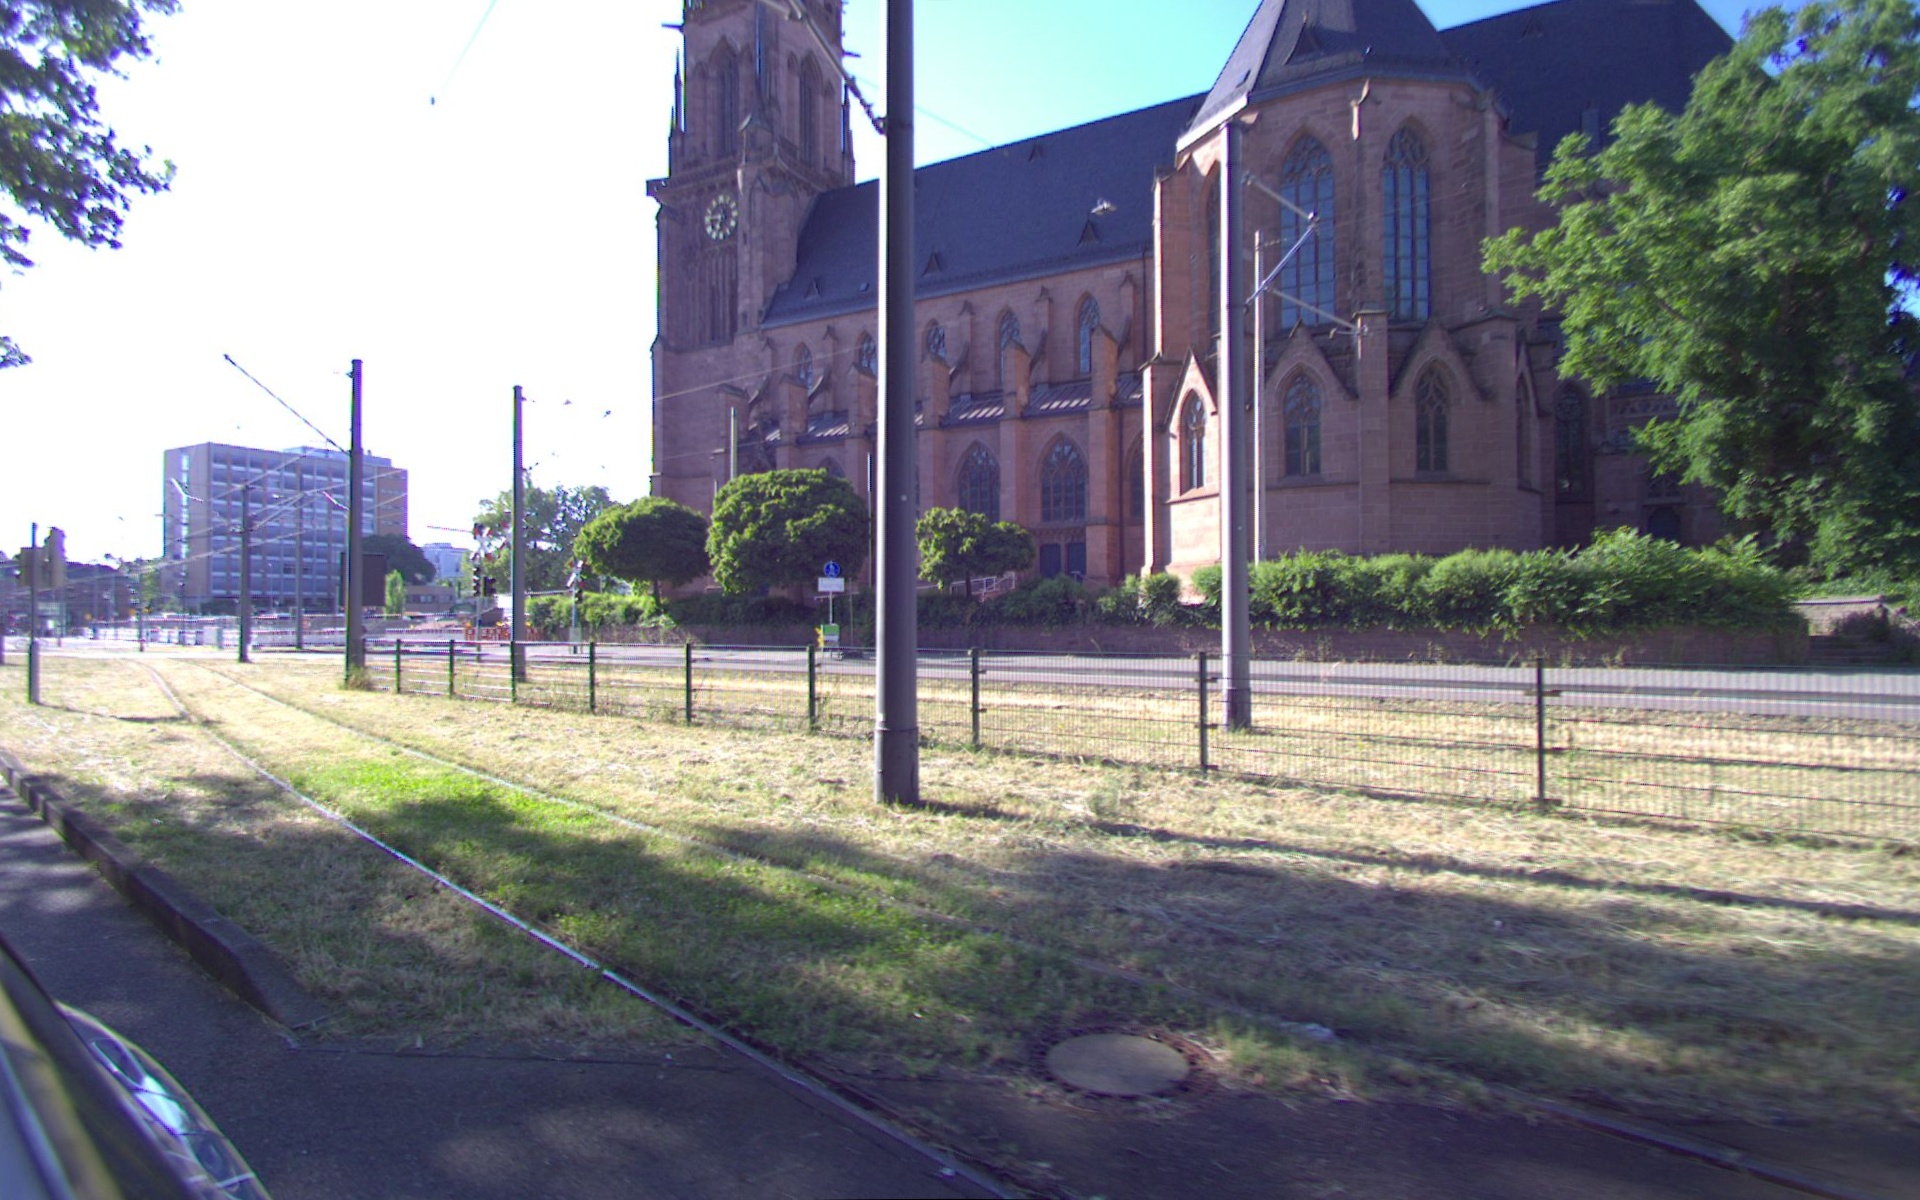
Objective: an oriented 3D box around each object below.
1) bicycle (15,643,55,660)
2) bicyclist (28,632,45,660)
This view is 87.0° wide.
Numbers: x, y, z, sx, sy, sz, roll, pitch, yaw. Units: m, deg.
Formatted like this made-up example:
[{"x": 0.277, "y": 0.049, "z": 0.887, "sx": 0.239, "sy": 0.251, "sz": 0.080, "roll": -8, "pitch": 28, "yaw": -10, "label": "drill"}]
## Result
[{"x": -66.085, "y": 3.696, "z": 72.305, "sx": 2.032, "sy": 1.091, "sz": 0.612, "roll": -2, "pitch": 0, "yaw": -32, "label": "bicycle"}, {"x": -66.028, "y": 3.281, "z": 72.344, "sx": 0.763, "sy": 1.886, "sz": 0.612, "roll": -2, "pitch": 0, "yaw": -32, "label": "bicyclist"}]
